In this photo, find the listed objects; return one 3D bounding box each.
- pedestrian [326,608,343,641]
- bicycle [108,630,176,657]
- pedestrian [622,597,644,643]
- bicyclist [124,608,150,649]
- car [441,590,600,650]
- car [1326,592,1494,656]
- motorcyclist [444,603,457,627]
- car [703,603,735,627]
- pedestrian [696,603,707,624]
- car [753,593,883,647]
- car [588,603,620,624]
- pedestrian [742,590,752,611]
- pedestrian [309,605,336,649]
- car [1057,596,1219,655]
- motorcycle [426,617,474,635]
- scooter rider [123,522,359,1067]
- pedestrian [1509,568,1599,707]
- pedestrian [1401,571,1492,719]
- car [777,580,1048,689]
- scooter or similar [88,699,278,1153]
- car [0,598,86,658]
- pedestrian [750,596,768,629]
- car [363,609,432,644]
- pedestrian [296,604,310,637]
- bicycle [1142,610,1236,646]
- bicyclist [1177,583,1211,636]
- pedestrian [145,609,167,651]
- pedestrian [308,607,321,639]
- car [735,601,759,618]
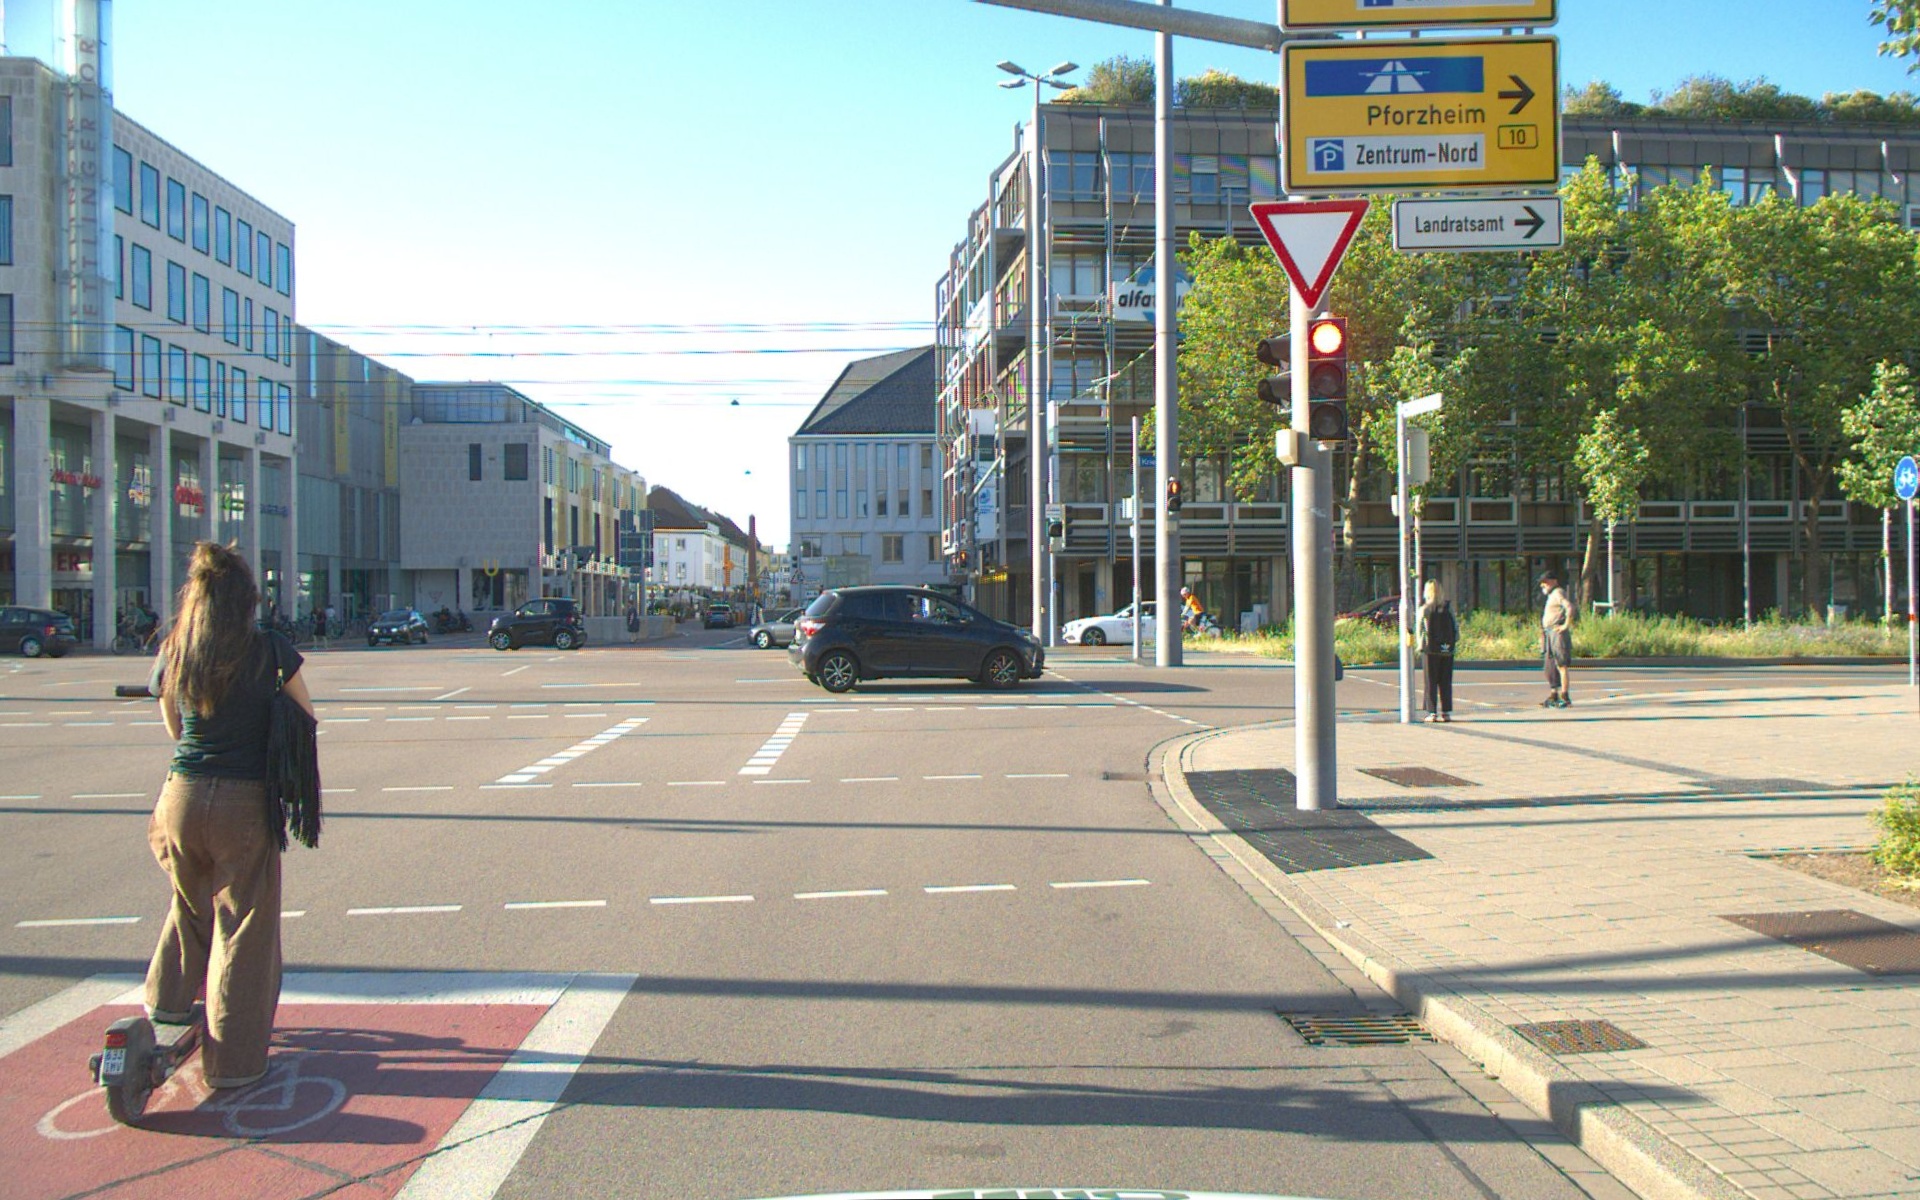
[{"bbox_3d":[-33.129,1.299,87.575,0.462,1.759,0.692,0,-1,37],"label":"pedestrian"},{"bbox_3d":[-29.463,1.562,59.602,0.624,0.919,2.211,-1,0,34],"label":"bicycle"},{"bbox_3d":[-12.467,0.763,63.129,0.685,1.718,0.619,-1,0,0],"label":"pedestrian"},{"bbox_3d":[-29.533,1.011,59.374,0.614,1.473,0.588,-1,0,29],"label":"bicyclist"},{"bbox_3d":[-13.181,0.580,49.768,4.317,1.713,1.824,-1,0,-4],"label":"car"},{"bbox_3d":[12.676,0.644,46.661,4.212,1.713,1.820,-1,0,-11],"label":"car"},{"bbox_3d":[-30.101,0.899,97.740,0.616,1.430,0.661,1,-1,-9],"label":"motorcyclist"},{"bbox_3d":[-15.699,0.965,107.820,1.625,1.484,3.541,-1,0,-1],"label":"car"},{"bbox_3d":[-25.656,1.336,164.071,0.892,1.999,0.822,-1,0,-1],"label":"pedestrian"},{"bbox_3d":[-4.701,0.658,54.821,3.905,1.713,1.825,-1,0,21],"label":"car"},{"bbox_3d":[-26.036,1.003,121.079,1.625,1.484,3.541,-1,0,-1],"label":"car"},{"bbox_3d":[-21.153,0.053,164.358,0.892,1.999,0.822,1,-1,-1],"label":"pedestrian"},{"bbox_3d":[-24.161,1.011,62.699,0.760,1.667,0.626,-1,0,5],"label":"pedestrian"},{"bbox_3d":[5.454,0.765,51.063,4.748,1.713,1.824,-1,0,-3],"label":"car"},{"bbox_3d":[-30.079,1.525,97.536,2.555,1.010,1.113,1,0,-10],"label":"motorcycle"},{"bbox_3d":[-2.151,0.552,4.991,0.542,1.556,0.448,-1,0,-9],"label":"scooter rider"},{"bbox_3d":[7.615,0.467,21.225,0.854,1.736,0.768,-1,0,-3],"label":"pedestrian"},{"bbox_3d":[5.563,0.500,18.955,0.750,1.642,0.874,-1,0,-2],"label":"pedestrian"},{"bbox_3d":[-0.740,0.484,24.820,3.796,1.536,1.666,-1,0,-14],"label":"car"},{"bbox_3d":[-2.207,0.876,4.751,0.301,1.127,0.836,-1,0,-12],"label":"scooter or similar"},{"bbox_3d":[-28.368,0.831,49.066,3.907,1.713,1.761,-1,0,-2],"label":"car"},{"bbox_3d":[-11.091,0.673,91.111,0.881,1.814,0.808,0,0,-1],"label":"pedestrian"},{"bbox_3d":[-23.586,1.102,69.479,1.642,1.381,4.019,-1,0,-2],"label":"car"},{"bbox_3d":[-35.718,1.113,89.918,0.462,1.759,0.518,0,-1,38],"label":"pedestrian"},{"bbox_3d":[6.526,0.796,47.200,2.517,0.992,1.047,-1,0,-4],"label":"bicycle"},{"bbox_3d":[6.675,0.278,47.220,0.806,1.500,0.652,-1,0,-5],"label":"bicyclist"},{"bbox_3d":[-32.474,1.203,66.838,0.580,1.674,0.629,-1,0,-1],"label":"pedestrian"},{"bbox_3d":[-35.147,1.235,90.054,0.462,1.712,0.518,0,-1,38],"label":"pedestrian"},{"bbox_3d":[-18.727,0.844,145.415,1.625,1.484,3.541,-1,0,-1],"label":"car"}]
